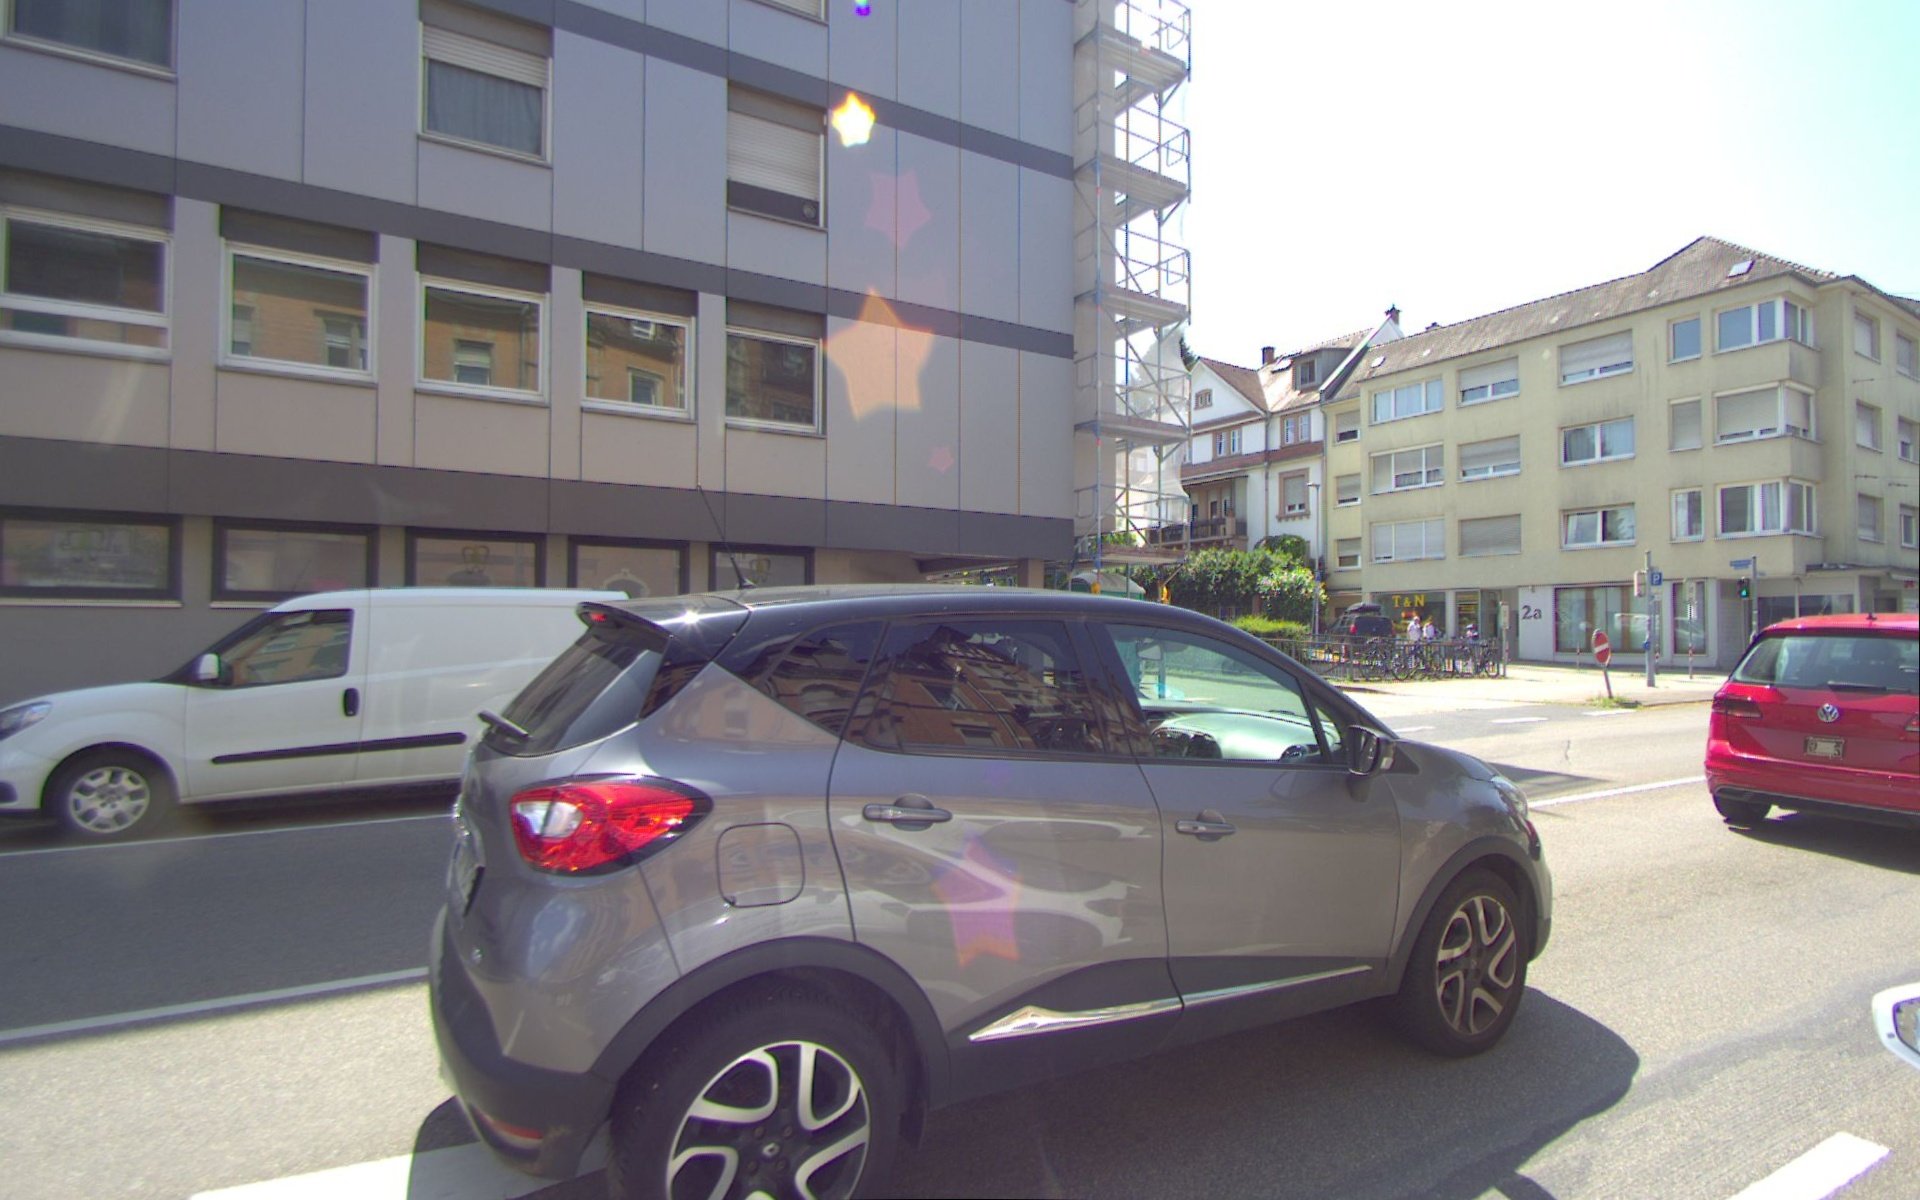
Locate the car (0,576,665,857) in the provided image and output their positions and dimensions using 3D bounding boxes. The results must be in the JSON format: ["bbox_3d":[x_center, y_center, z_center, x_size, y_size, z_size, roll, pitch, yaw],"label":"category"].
[{"bbox_3d":[-5.126,0.857,8.491,4.735,1.849,1.904,1,-3,-32],"label":"car"}]

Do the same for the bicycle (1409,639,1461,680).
[{"bbox_3d":[12.035,1.495,25.420,1.729,0.980,0.394,1,-1,-35],"label":"bicycle"}]

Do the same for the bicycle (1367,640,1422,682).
[{"bbox_3d":[10.529,1.457,24.330,1.701,0.980,0.394,1,-1,-35],"label":"bicycle"}]

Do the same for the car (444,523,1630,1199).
[{"bbox_3d":[0.409,0.721,3.590,3.952,1.653,1.746,1,-1,-30],"label":"car"}]

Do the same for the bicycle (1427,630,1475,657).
[{"bbox_3d":[19.635,1.710,40.197,0.493,1.040,1.728,1,-1,-31],"label":"bicycle"}]

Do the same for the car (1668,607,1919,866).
[{"bbox_3d":[7.349,0.875,7.582,3.990,1.578,1.790,1,-1,-30],"label":"car"}]

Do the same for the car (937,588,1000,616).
[{"bbox_3d":[0.464,0.114,59.595,1.790,1.440,3.963,1,2,-33],"label":"car"}]

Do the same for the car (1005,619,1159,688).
[{"bbox_3d":[2.874,1.229,24.386,1.739,1.466,3.705,1,0,-33],"label":"car"}]

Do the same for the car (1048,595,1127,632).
[{"bbox_3d":[6.338,0.658,50.388,1.790,1.571,3.963,1,2,-33],"label":"car"}]

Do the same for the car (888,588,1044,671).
[{"bbox_3d":[0.049,0.758,29.018,1.980,2.041,4.962,1,2,-35],"label":"car"}]

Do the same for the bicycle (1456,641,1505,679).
[{"bbox_3d":[13.783,1.576,26.574,1.765,0.980,0.394,1,-1,-35],"label":"bicycle"}]

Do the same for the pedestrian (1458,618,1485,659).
[{"bbox_3d":[19.258,1.446,37.804,0.641,1.495,0.683,1,-1,-29],"label":"pedestrian"}]

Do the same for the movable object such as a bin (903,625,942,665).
[{"bbox_3d":[-0.921,1.092,24.374,0.695,0.939,0.735,1,-1,-29],"label":"movable object such as a bin"}]

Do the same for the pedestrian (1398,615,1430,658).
[{"bbox_3d":[17.958,1.438,39.739,0.813,1.654,0.798,1,-1,-30],"label":"pedestrian"}]

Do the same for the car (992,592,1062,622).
[{"bbox_3d":[3.596,0.373,54.587,1.790,1.406,3.963,1,2,-33],"label":"car"}]

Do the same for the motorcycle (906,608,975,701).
[{"bbox_3d":[-0.308,0.899,17.281,0.864,1.491,2.044,0,-1,8],"label":"motorcycle"}]

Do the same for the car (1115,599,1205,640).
[{"bbox_3d":[9.129,0.878,46.128,1.790,1.638,3.963,1,2,-33],"label":"car"}]

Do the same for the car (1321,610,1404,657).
[{"bbox_3d":[15.291,1.279,38.385,1.959,1.686,4.333,0,-2,8],"label":"car"}]

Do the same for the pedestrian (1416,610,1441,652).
[{"bbox_3d":[18.685,1.241,40.051,0.641,1.654,0.683,1,-1,-29],"label":"pedestrian"}]

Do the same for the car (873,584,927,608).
[{"bbox_3d":[-4.060,-0.277,67.498,1.839,1.440,3.963,1,2,-33],"label":"car"}]
